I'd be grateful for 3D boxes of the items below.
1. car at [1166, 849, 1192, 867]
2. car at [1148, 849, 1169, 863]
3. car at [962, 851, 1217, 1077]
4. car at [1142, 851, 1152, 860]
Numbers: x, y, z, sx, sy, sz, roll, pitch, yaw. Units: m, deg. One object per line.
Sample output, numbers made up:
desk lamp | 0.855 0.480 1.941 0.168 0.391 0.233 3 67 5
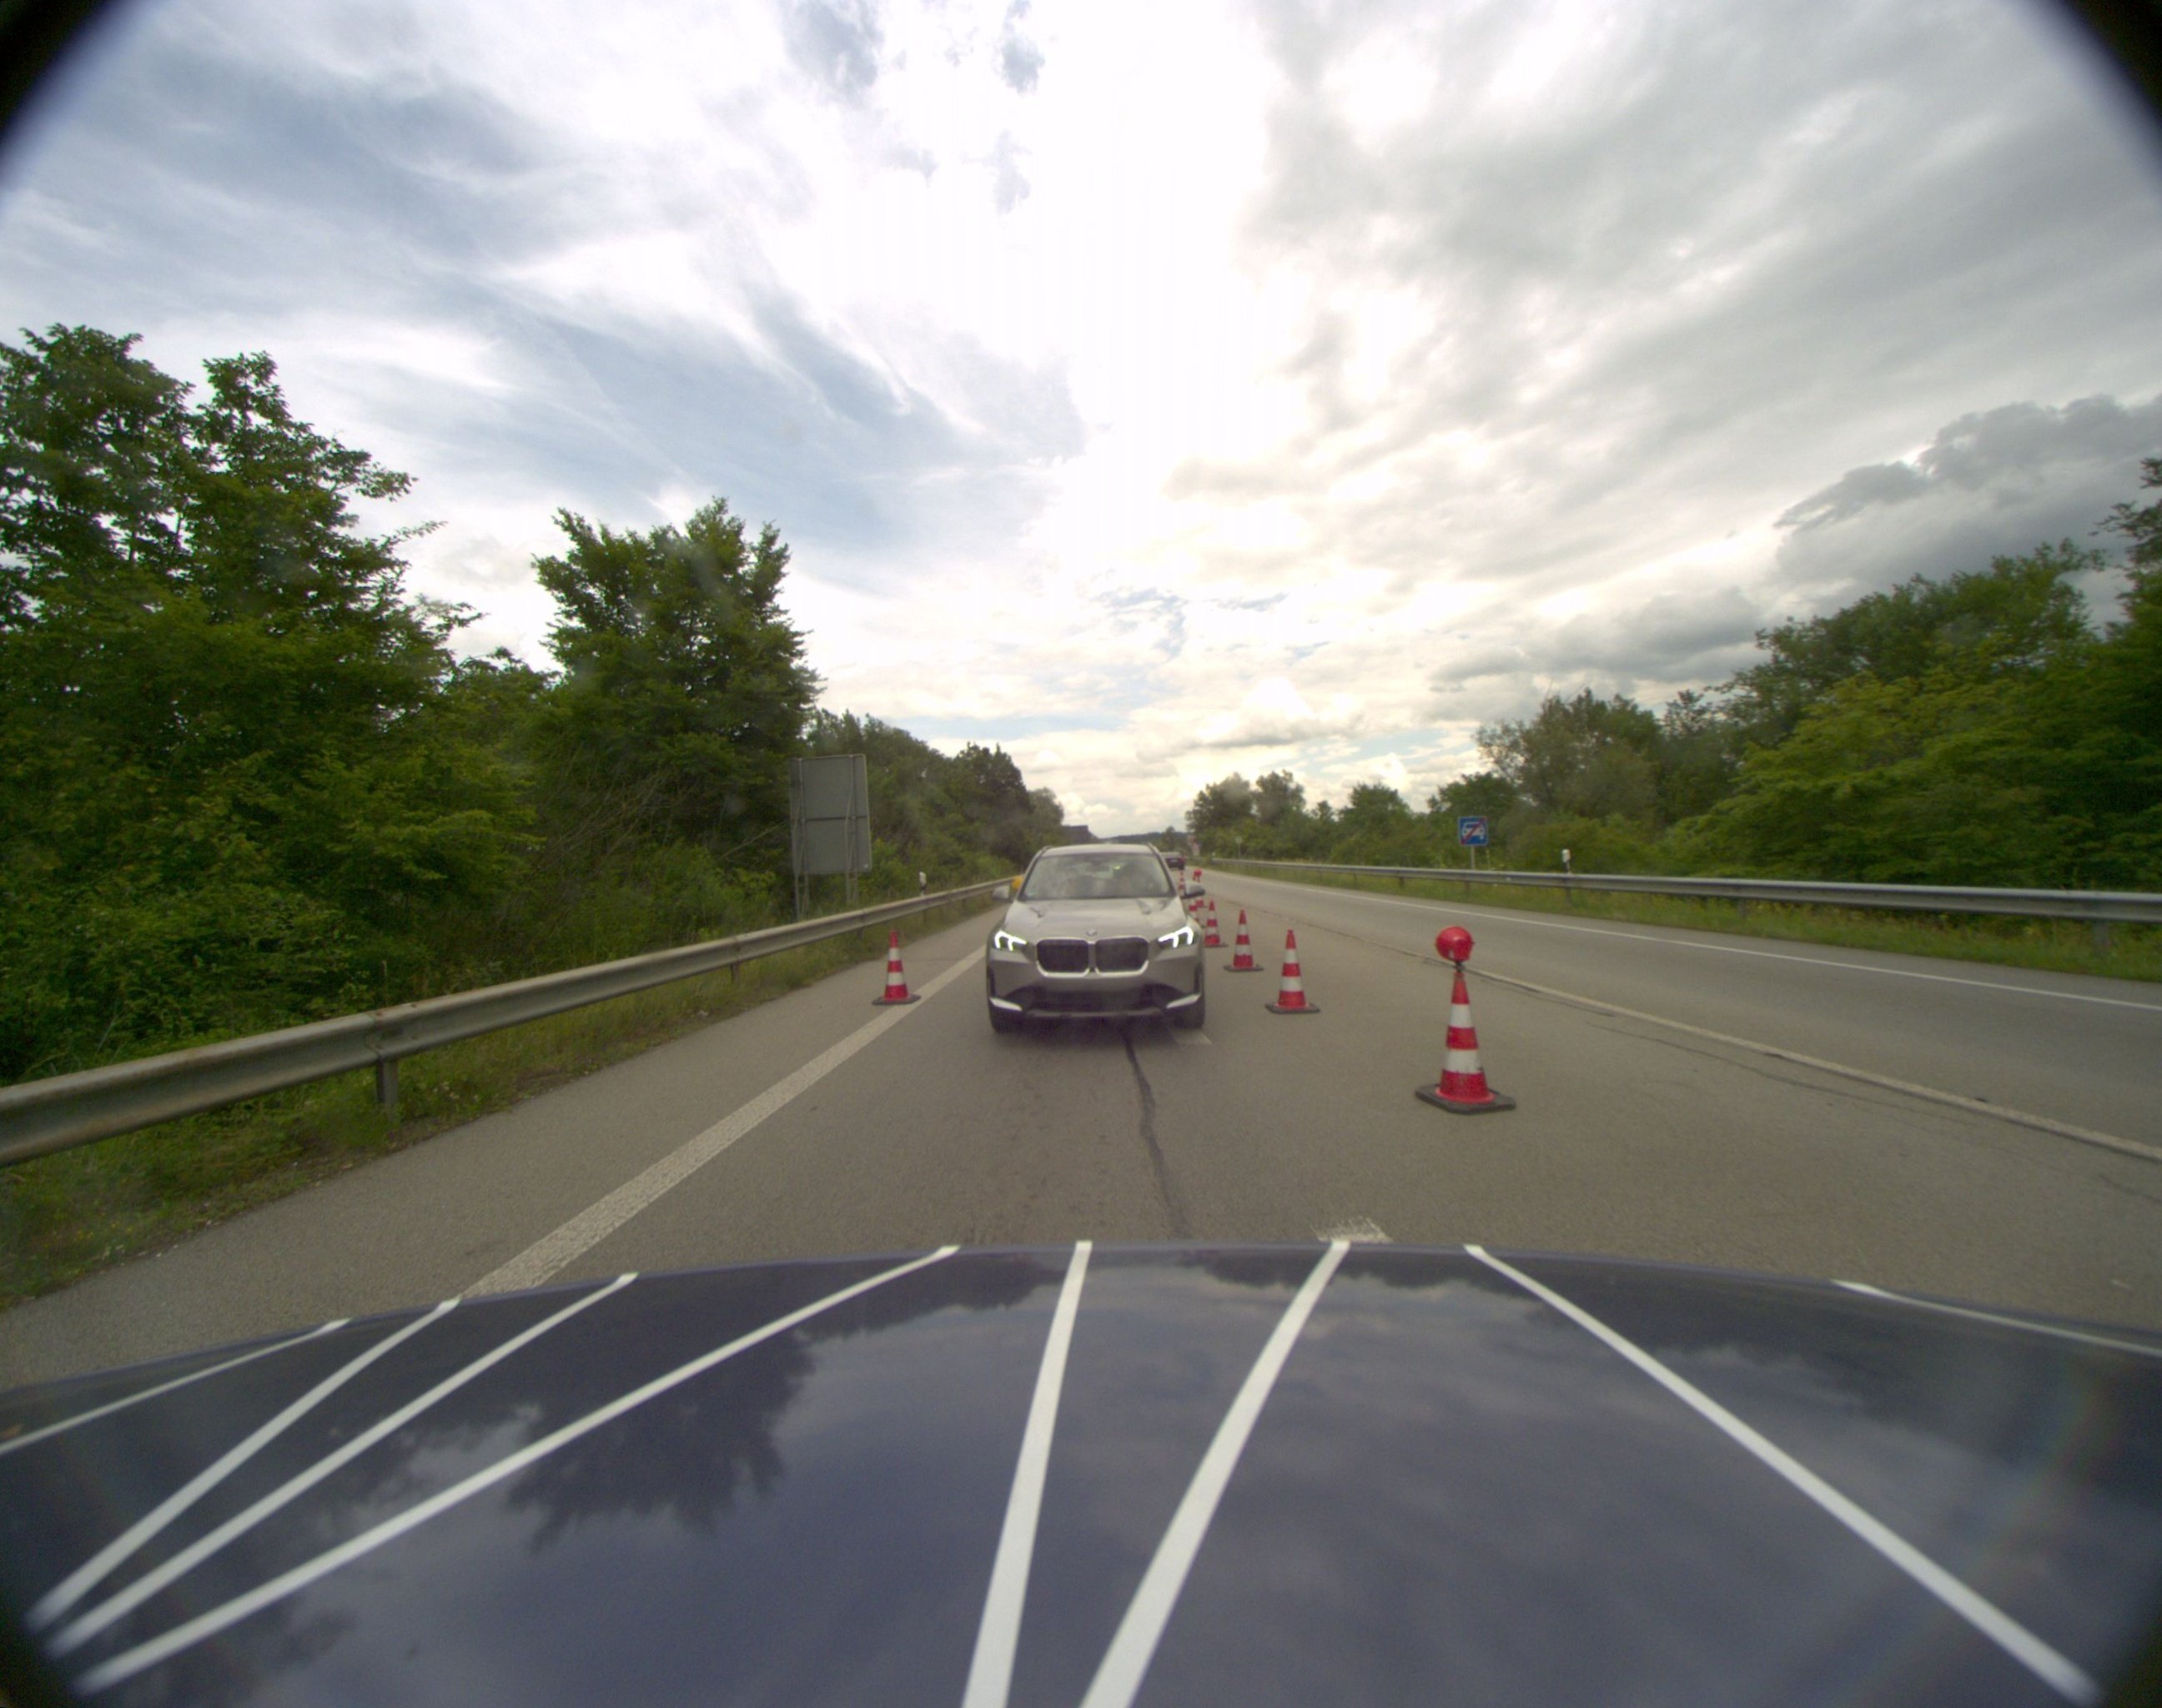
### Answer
car | 7.965 0.301 62.033 1.712 1.428 4.337 -2 0 4
car | 8.466 0.212 83.481 1.683 1.393 4.373 -2 0 -1
car | 0.183 0.804 7.764 1.817 1.598 4.434 -2 0 3
car | 15.179 0.415 174.243 2.034 1.976 5.316 -2 0 3
